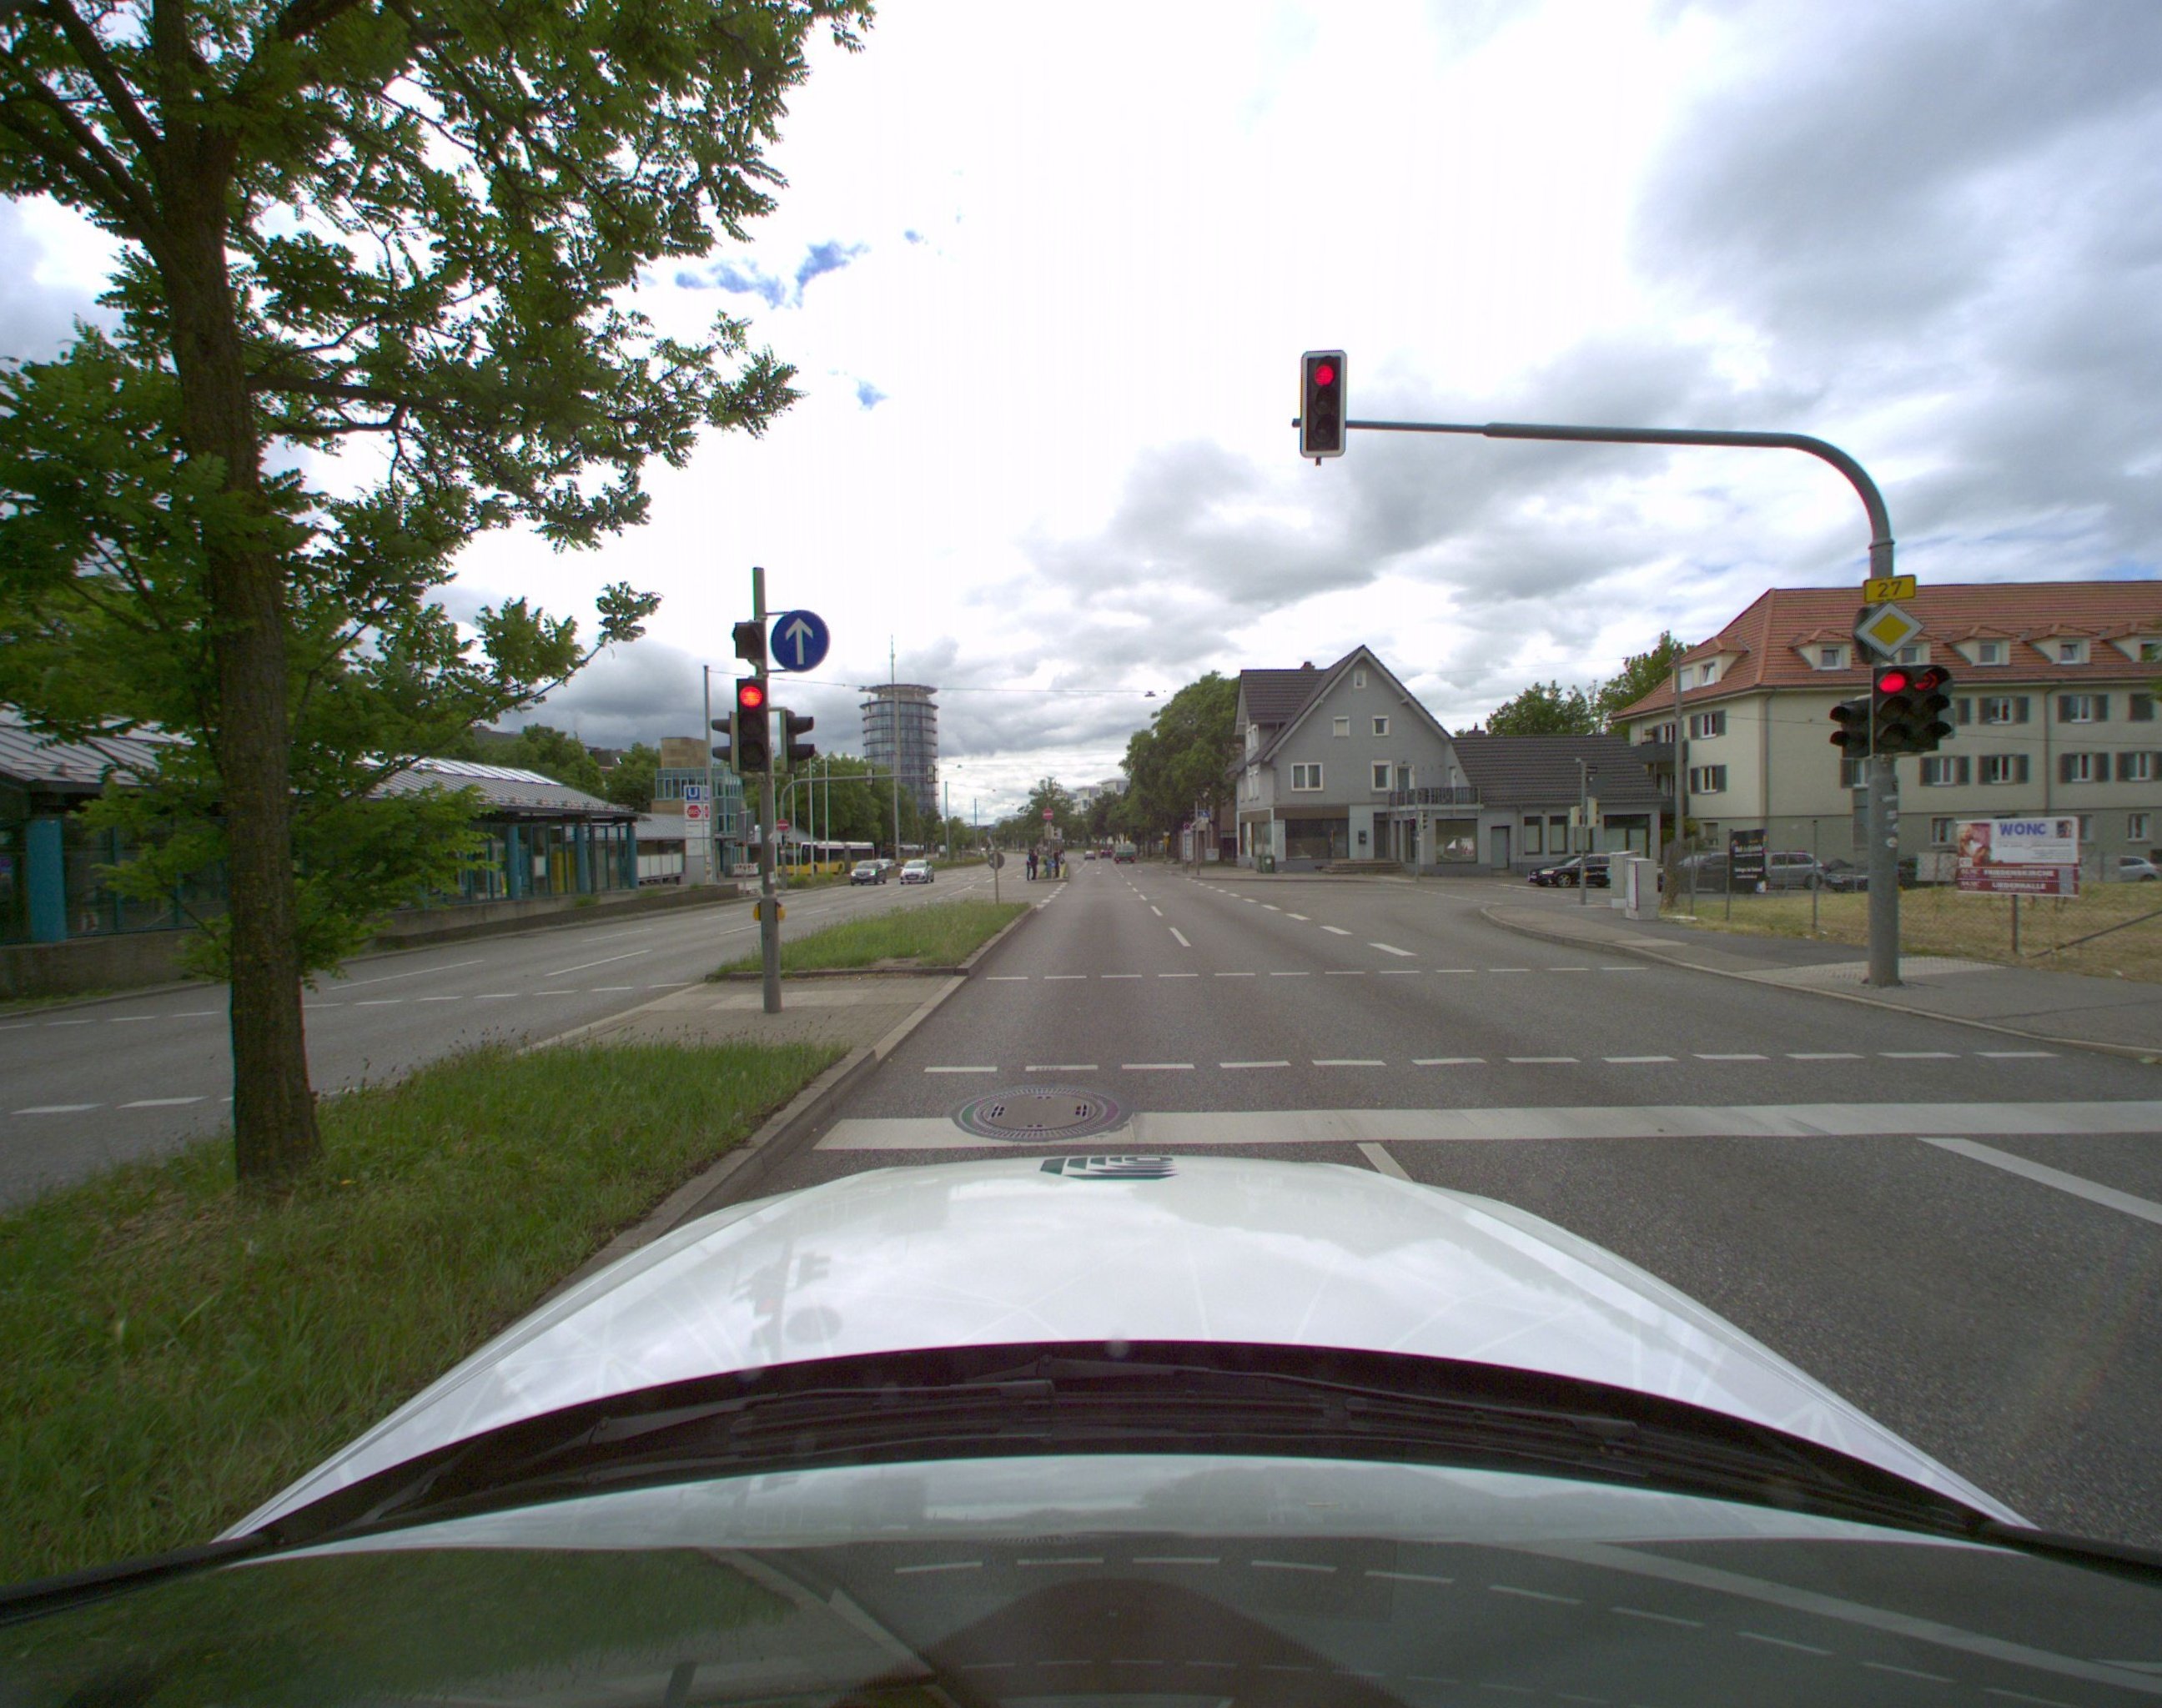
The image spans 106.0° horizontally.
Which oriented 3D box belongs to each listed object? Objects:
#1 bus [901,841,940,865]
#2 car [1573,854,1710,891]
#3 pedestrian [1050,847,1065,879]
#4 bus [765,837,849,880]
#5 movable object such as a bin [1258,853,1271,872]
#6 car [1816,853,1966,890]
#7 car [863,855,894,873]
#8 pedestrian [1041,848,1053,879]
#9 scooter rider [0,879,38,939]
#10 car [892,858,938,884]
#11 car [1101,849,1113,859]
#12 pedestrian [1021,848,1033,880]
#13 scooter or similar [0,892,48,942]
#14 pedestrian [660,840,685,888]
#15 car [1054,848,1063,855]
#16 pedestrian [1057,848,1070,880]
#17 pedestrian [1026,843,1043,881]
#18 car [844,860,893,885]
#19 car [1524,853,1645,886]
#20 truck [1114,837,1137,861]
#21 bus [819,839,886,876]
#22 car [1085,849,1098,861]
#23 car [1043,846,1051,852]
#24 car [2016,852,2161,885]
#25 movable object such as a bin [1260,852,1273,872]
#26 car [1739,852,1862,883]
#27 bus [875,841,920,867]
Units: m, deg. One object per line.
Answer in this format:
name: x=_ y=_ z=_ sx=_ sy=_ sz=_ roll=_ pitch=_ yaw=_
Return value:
bus: x=-24.624 y=-0.142 z=125.656 sx=2.817 sy=3.430 sz=10.750 roll=-2 pitch=0 yaw=6
car: x=21.529 y=0.683 z=31.370 sx=4.075 sy=1.371 sz=1.800 roll=0 pitch=0 yaw=0
pedestrian: x=-1.301 y=0.509 z=44.718 sx=0.744 sy=1.716 sz=0.582 roll=-2 pitch=0 yaw=-6
bus: x=-24.279 y=0.361 z=73.006 sx=2.817 sy=3.430 sz=10.750 roll=-2 pitch=0 yaw=6
movable object such as a bin: x=10.003 y=0.442 z=44.314 sx=0.613 sy=1.043 sz=0.590 roll=0 pitch=0 yaw=3
car: x=31.409 y=0.664 z=31.646 sx=4.075 sy=1.371 sz=1.800 roll=0 pitch=0 yaw=0
car: x=-19.629 y=0.941 z=79.129 sx=1.798 sy=1.662 sz=4.003 roll=-2 pitch=0 yaw=3
pedestrian: x=-1.903 y=0.527 z=45.436 sx=0.582 sy=1.716 sz=0.545 roll=-2 pitch=0 yaw=-5
scooter rider: x=-28.764 y=1.462 z=21.891 sx=0.524 sy=1.545 sz=0.705 roll=1 pitch=0 yaw=-5
car: x=-10.397 y=1.030 z=51.345 sx=1.987 sy=1.486 sz=4.000 roll=-2 pitch=0 yaw=0
car: x=4.255 y=-0.012 z=134.756 sx=1.986 sy=1.552 sz=4.001 roll=0 pitch=0 yaw=1
pedestrian: x=-3.042 y=0.559 z=45.519 sx=0.611 sy=1.716 sz=0.545 roll=-2 pitch=0 yaw=-5
scooter or similar: x=-28.762 y=1.692 z=21.860 sx=0.479 sy=1.267 sz=1.286 roll=1 pitch=0 yaw=-5
pedestrian: x=-17.503 y=0.417 z=34.893 sx=0.680 sy=2.013 sz=0.645 roll=-2 pitch=0 yaw=-3
car: x=-4.860 y=-0.589 z=176.598 sx=1.988 sy=1.519 sz=3.997 roll=-2 pitch=0 yaw=-2
pedestrian: x=-0.937 y=0.522 z=44.162 sx=0.652 sy=1.716 sz=0.451 roll=-2 pitch=0 yaw=-6
pedestrian: x=-2.533 y=0.442 z=44.061 sx=0.829 sy=2.013 sz=0.545 roll=-2 pitch=0 yaw=-6
car: x=-13.456 y=1.140 z=51.898 sx=1.987 sy=1.486 sz=4.000 roll=-2 pitch=0 yaw=0
car: x=21.420 y=0.636 z=34.766 sx=4.075 sy=1.371 sz=1.800 roll=0 pitch=0 yaw=0
truck: x=5.091 y=-0.570 z=93.124 sx=2.460 sy=2.611 sz=6.553 roll=0 pitch=1 yaw=3
bus: x=-23.216 y=0.337 z=83.475 sx=2.817 sy=3.430 sz=10.750 roll=-2 pitch=0 yaw=6
car: x=1.628 y=0.123 z=126.508 sx=1.986 sy=1.830 sz=4.001 roll=-1 pitch=0 yaw=1
car: x=-10.169 y=-1.438 z=239.986 sx=1.992 sy=1.552 sz=3.990 roll=-2 pitch=0 yaw=-7
car: x=42.818 y=0.597 z=34.635 sx=4.075 sy=1.371 sz=1.800 roll=0 pitch=0 yaw=0
movable object such as a bin: x=9.959 y=0.439 z=43.814 sx=0.602 sy=1.059 sz=0.590 roll=0 pitch=0 yaw=3
car: x=32.852 y=0.605 z=37.241 sx=4.075 sy=1.371 sz=1.800 roll=0 pitch=0 yaw=0
bus: x=-25.703 y=-0.018 z=114.933 sx=2.817 sy=3.430 sz=10.750 roll=-2 pitch=0 yaw=6
